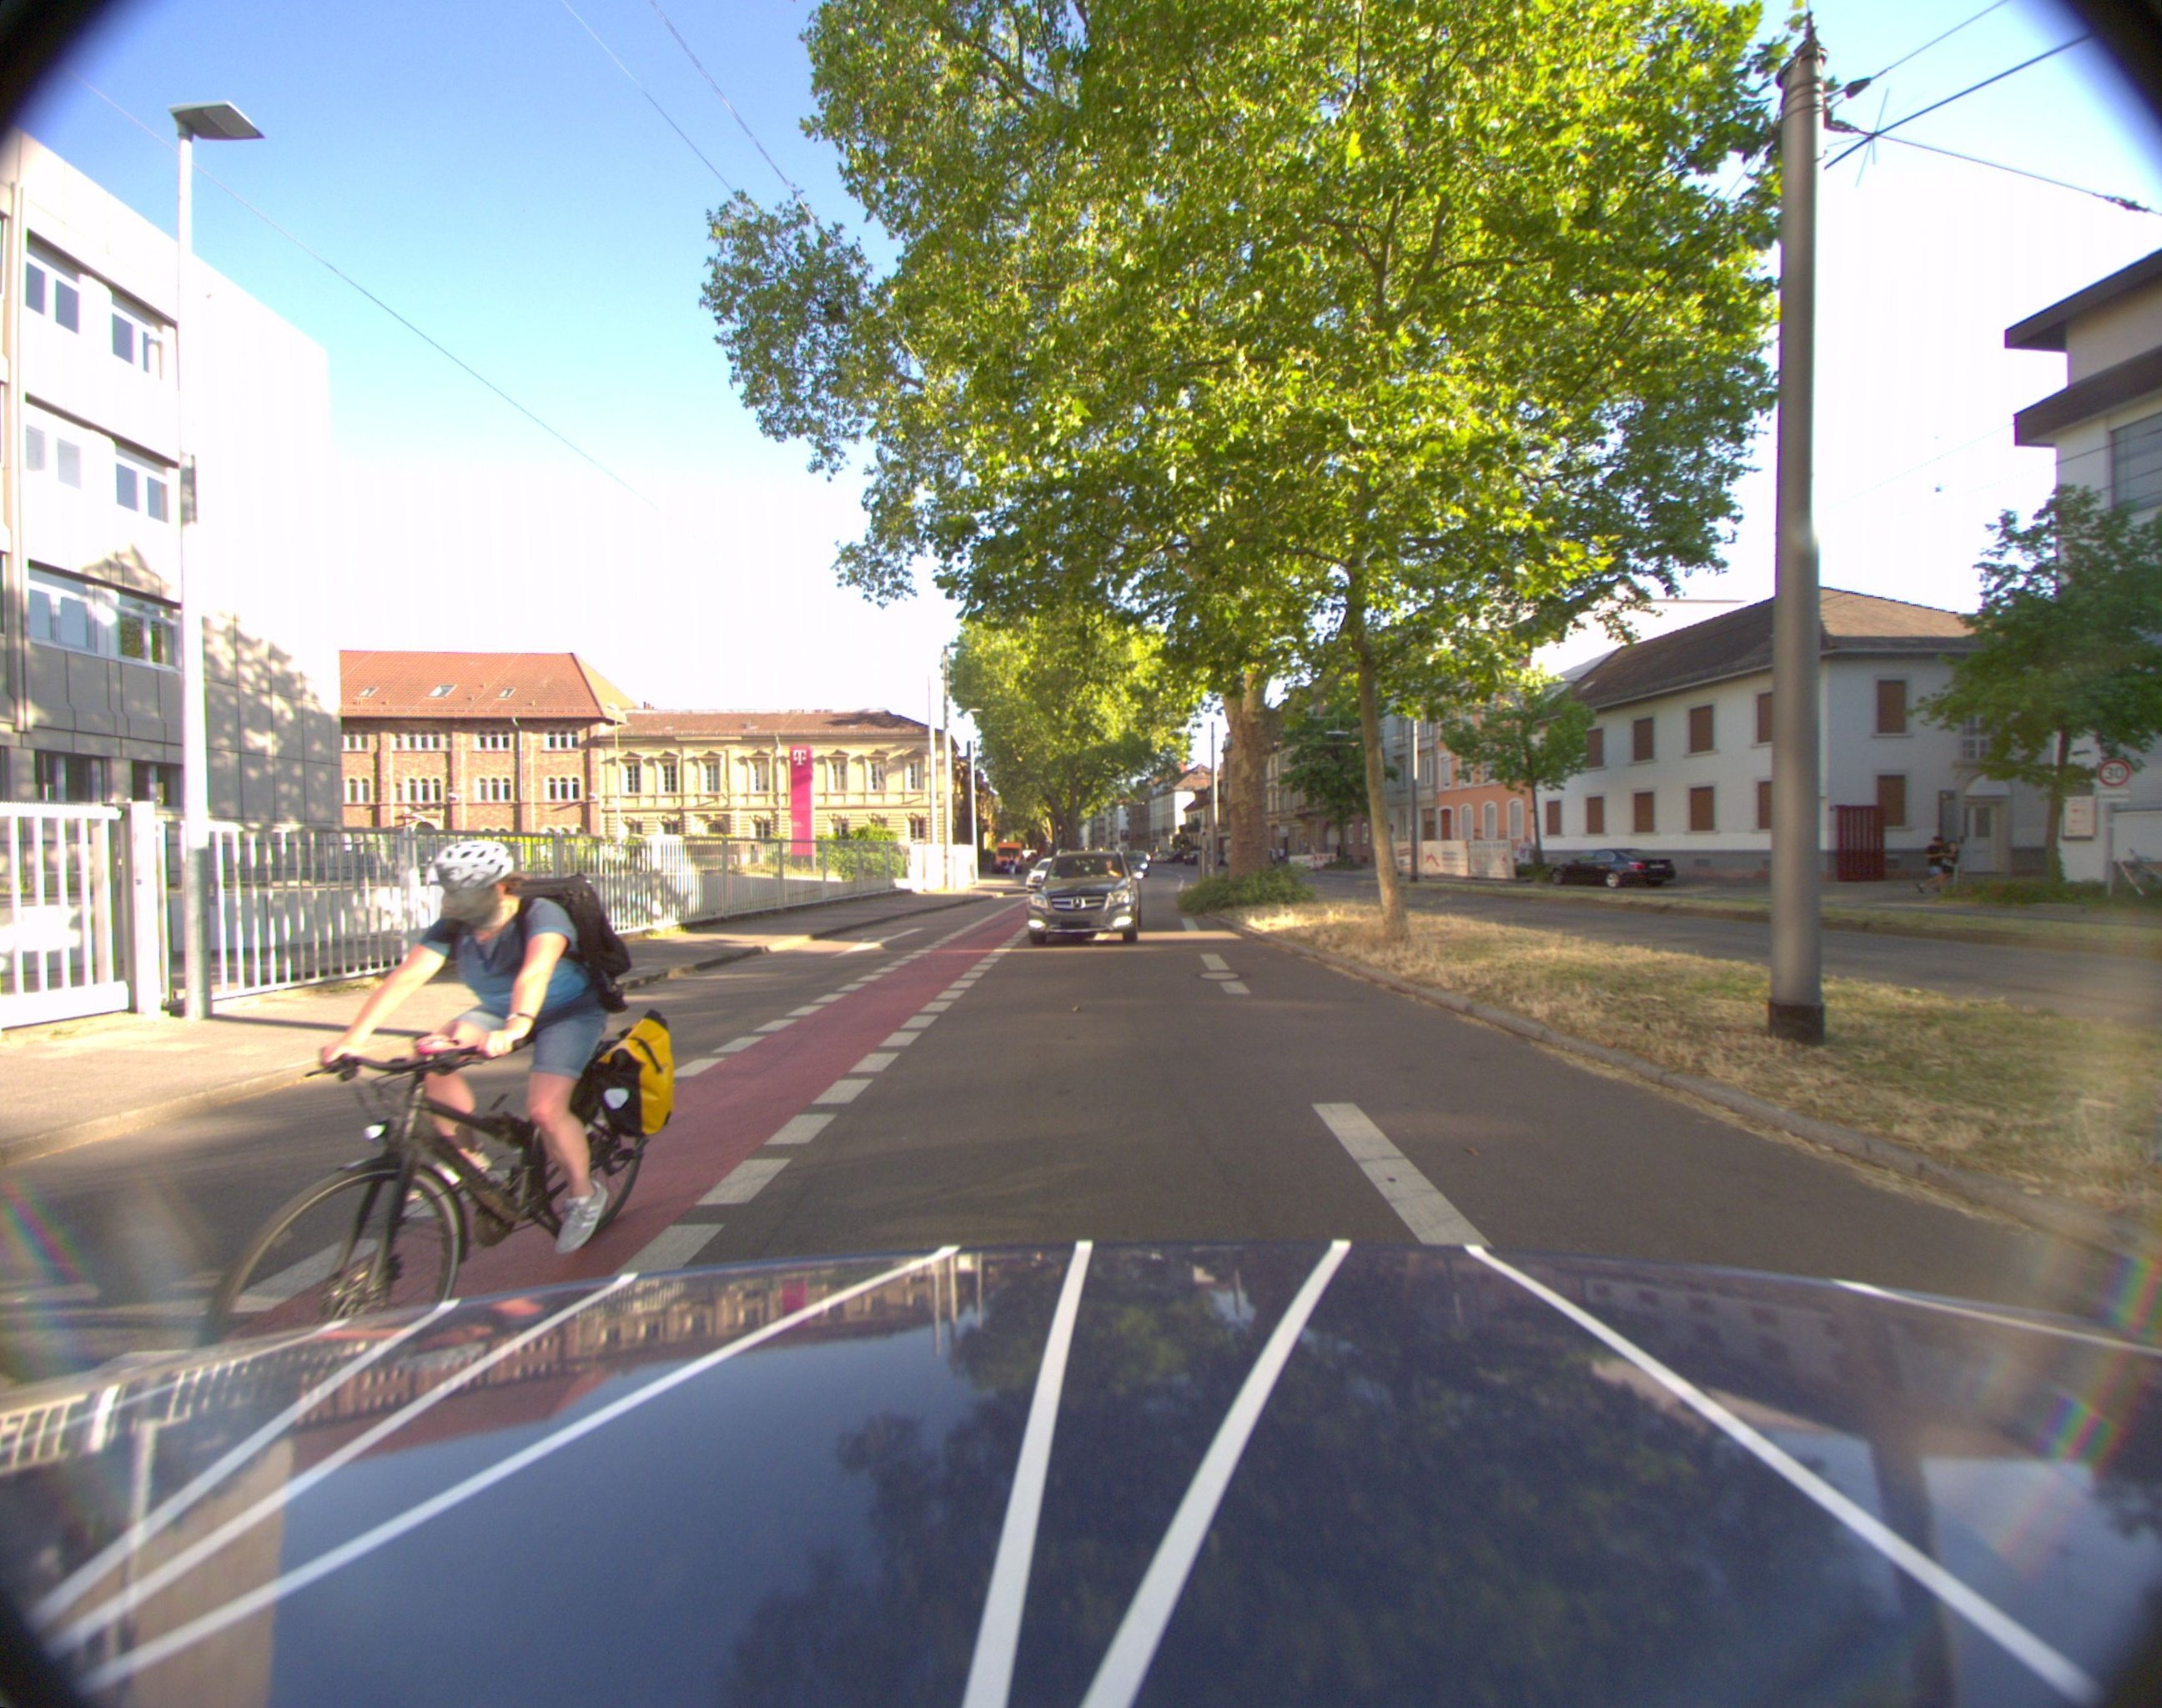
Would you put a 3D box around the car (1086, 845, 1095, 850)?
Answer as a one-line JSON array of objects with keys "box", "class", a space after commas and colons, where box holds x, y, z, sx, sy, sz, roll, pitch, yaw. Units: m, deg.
[{"box": [2.721, -1.845, 218.786, 2.088, 1.531, 4.124, -4, 1, -7], "class": "car"}]

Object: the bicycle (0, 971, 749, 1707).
[{"box": [-2.054, 1.179, 2.709, 0.764, 1.138, 2.306, -1, 1, -2], "class": "bicycle"}]

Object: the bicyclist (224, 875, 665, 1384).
[{"box": [-2.065, 0.811, 2.627, 0.728, 1.414, 0.859, -2, 1, -2], "class": "bicyclist"}]

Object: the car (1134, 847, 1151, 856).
[{"box": [10.596, -0.435, 130.842, 2.088, 1.531, 4.253, -4, 1, -7], "class": "car"}]

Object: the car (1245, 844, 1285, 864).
[{"box": [16.962, -0.006, 70.285, 2.088, 1.664, 4.529, -4, 1, -7], "class": "car"}]

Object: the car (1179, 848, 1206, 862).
[{"box": [13.612, 0.071, 93.057, 2.088, 1.531, 4.513, -4, 1, -7], "class": "car"}]

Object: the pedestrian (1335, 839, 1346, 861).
[{"box": [21.235, -0.337, 62.164, 0.561, 1.798, 0.704, -1, 1, -5], "class": "pedestrian"}]

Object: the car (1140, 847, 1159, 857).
[{"box": [10.918, -0.303, 120.933, 2.088, 1.531, 4.095, -4, 1, -7], "class": "car"}]

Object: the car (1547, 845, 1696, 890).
[{"box": [20.565, 0.463, 29.190, 2.088, 1.462, 4.576, -4, 1, -7], "class": "car"}]

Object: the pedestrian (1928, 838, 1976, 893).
[{"box": [24.632, 0.326, 21.489, 0.537, 1.519, 0.711, -1, 1, -5], "class": "pedestrian"}]

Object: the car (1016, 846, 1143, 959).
[{"box": [0.105, 0.748, 14.222, 1.908, 1.635, 4.517, -3, 1, 3], "class": "car"}]

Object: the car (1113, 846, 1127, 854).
[{"box": [8.072, -0.760, 156.364, 2.088, 1.531, 4.117, -4, 1, -7], "class": "car"}]

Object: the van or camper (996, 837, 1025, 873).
[{"box": [-5.387, 0.042, 58.858, 1.999, 2.578, 5.623, -2, 1, -4], "class": "van or camper"}]

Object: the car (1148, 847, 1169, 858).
[{"box": [11.709, -0.235, 115.013, 2.088, 1.531, 4.036, -4, 1, -7], "class": "car"}]

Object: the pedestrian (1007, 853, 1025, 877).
[{"box": [-3.958, 0.660, 46.114, 0.898, 1.464, 0.811, -1, 1, 12], "class": "pedestrian"}]

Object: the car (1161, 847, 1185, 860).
[{"box": [12.854, -0.082, 106.134, 2.088, 1.531, 5.101, -4, 1, -7], "class": "car"}]

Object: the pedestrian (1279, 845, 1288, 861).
[{"box": [19.875, -0.102, 74.674, 0.641, 1.519, 0.615, -1, 1, -5], "class": "pedestrian"}]

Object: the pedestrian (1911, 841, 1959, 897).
[{"box": [23.825, 0.411, 21.208, 0.537, 1.519, 0.711, -1, 1, -11], "class": "pedestrian"}]

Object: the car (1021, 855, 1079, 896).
[{"box": [-1.277, 0.884, 33.168, 1.792, 1.494, 4.302, -3, 1, 7], "class": "car"}]
